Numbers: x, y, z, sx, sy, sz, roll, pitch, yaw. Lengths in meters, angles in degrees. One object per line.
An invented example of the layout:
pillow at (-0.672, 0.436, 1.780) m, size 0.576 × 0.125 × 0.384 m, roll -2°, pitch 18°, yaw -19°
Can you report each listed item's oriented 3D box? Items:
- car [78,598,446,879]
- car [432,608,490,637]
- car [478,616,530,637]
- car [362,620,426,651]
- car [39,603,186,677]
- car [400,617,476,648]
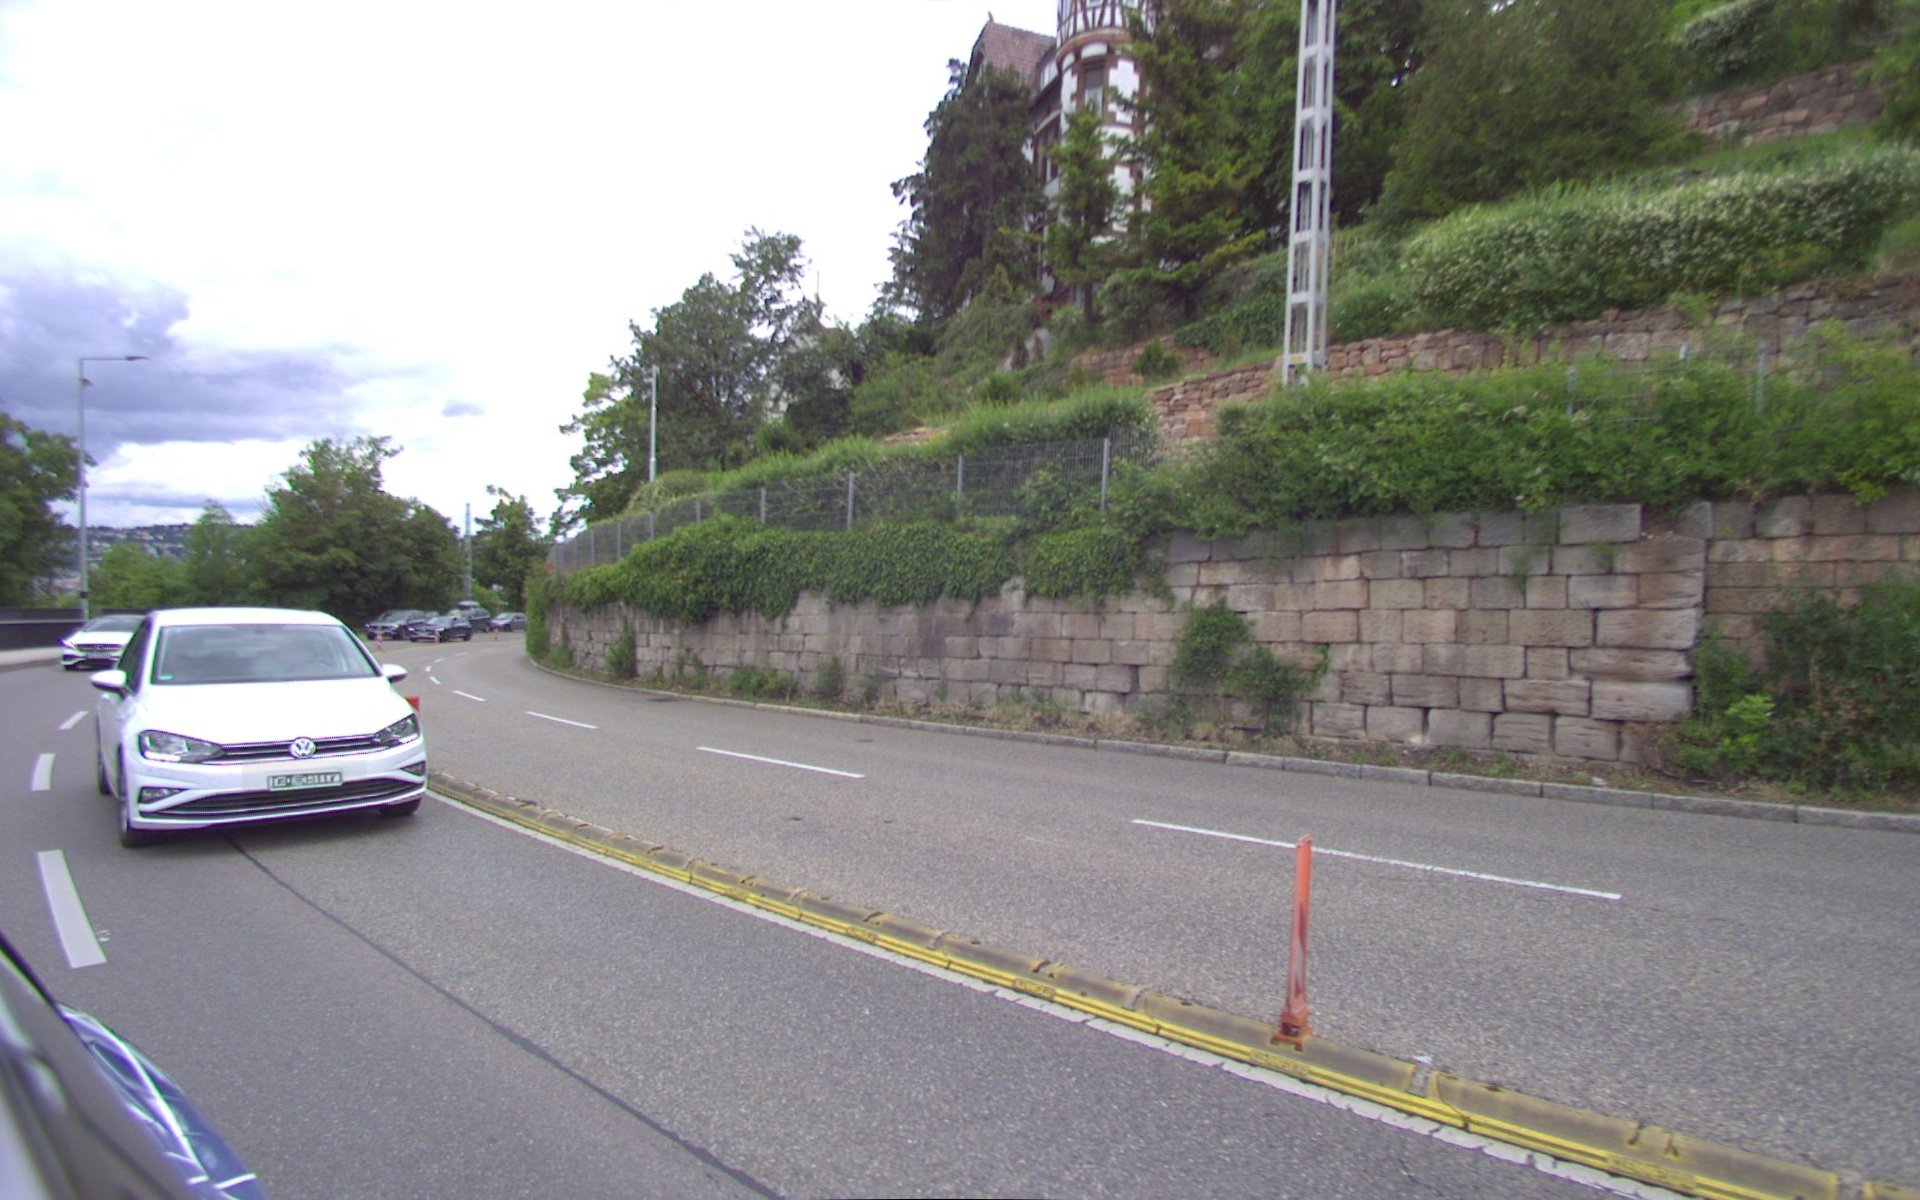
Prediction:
car at (-5.681, 0.810, 7.981) m, size 1.799 × 1.592 × 4.361 m, roll 1°, pitch -1°, yaw -43°
car at (-34.397, 1.534, 69.890) m, size 1.676 × 1.845 × 4.402 m, roll 4°, pitch -1°, yaw 1°
car at (-34.190, 1.987, 75.996) m, size 1.909 × 1.444 × 3.996 m, roll 2°, pitch -2°, yaw 3°
car at (-31.227, 1.928, 55.966) m, size 1.871 × 1.505 × 4.151 m, roll 0°, pitch 1°, yaw -10°
car at (-22.761, 1.020, 27.365) m, size 1.965 × 1.731 × 4.013 m, roll 4°, pitch -1°, yaw -25°
car at (-28.296, 1.736, 55.036) m, size 1.899 × 1.505 × 4.139 m, roll 1°, pitch 0°, yaw 2°
